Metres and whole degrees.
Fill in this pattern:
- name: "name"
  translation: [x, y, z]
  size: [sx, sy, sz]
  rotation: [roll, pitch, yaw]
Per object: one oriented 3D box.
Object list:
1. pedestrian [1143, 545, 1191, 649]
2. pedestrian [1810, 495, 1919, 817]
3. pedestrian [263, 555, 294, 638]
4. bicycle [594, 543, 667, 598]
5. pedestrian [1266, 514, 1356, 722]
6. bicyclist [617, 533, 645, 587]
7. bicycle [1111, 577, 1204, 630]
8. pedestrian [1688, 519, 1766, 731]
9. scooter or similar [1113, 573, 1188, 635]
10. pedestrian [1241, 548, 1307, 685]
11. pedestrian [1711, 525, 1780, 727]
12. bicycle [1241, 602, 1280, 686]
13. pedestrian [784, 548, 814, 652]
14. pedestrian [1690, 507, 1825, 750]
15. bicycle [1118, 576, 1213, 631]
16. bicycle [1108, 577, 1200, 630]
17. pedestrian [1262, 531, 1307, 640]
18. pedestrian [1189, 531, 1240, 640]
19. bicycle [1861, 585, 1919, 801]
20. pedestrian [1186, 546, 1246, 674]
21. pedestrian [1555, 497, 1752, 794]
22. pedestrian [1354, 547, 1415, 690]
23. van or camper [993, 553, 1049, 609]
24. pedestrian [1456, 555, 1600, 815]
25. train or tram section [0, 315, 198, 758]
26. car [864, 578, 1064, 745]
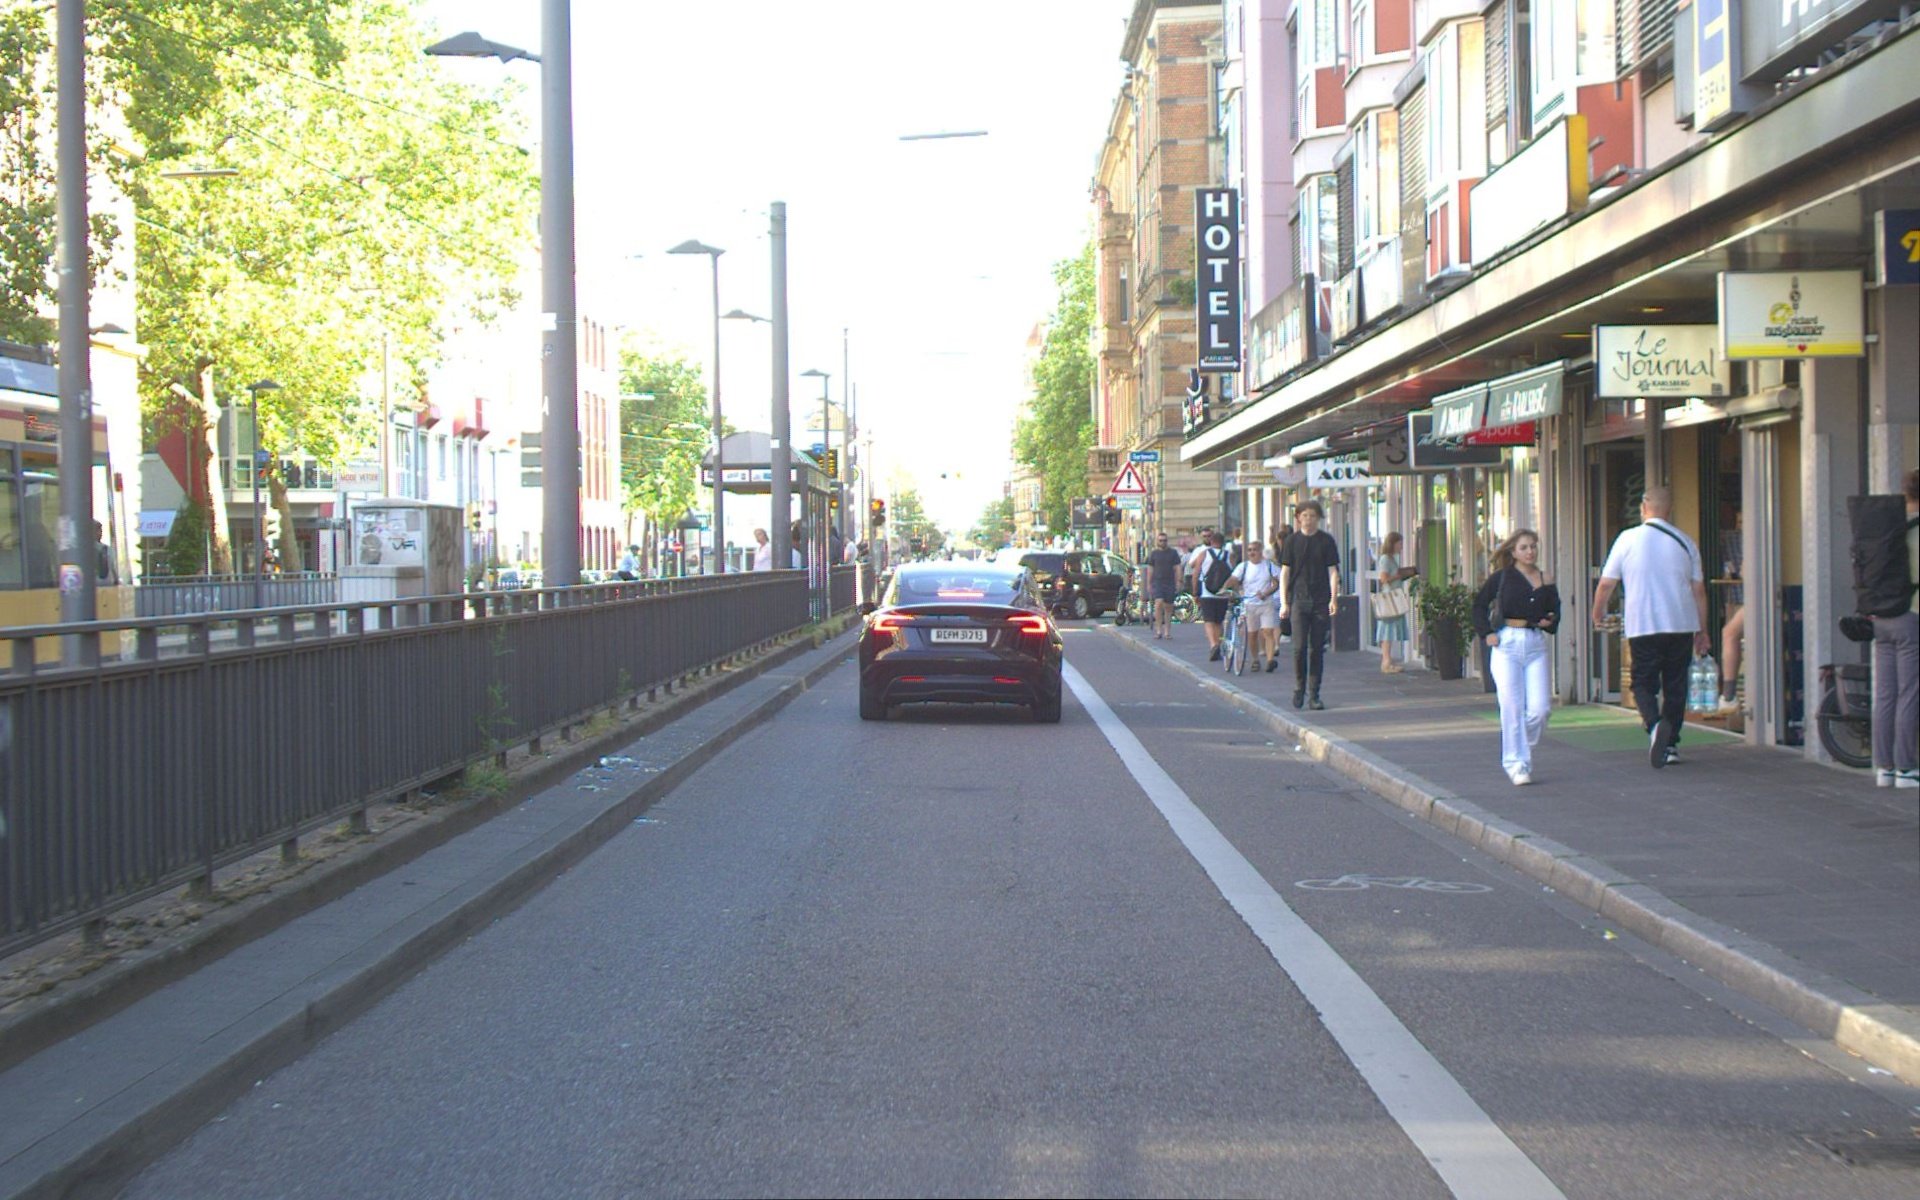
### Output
- name: "pedestrian"
  translation: [3.517, -0.058, 58.566]
  size: [0.667, 1.723, 0.810]
  rotation: [-3, 0, 0]
- name: "pedestrian"
  translation: [5.224, 0.289, 18.924]
  size: [0.786, 1.715, 0.592]
  rotation: [-3, 1, -18]
- name: "pedestrian"
  translation: [-16.538, -0.098, 83.445]
  size: [0.701, 2.007, 0.689]
  rotation: [0, 0, -8]
- name: "bicycle"
  translation: [-9.244, -0.825, 96.412]
  size: [1.948, 1.511, 0.635]
  rotation: [0, 1, -16]
- name: "pedestrian"
  translation: [3.220, 0.159, 31.613]
  size: [0.675, 1.855, 0.992]
  rotation: [-3, 0, 2]
- name: "bicyclist"
  translation: [-9.224, -1.119, 96.415]
  size: [0.679, 1.511, 0.635]
  rotation: [0, 1, -16]
- name: "bicycle"
  translation: [4.263, 0.068, 74.350]
  size: [1.945, 1.103, 0.564]
  rotation: [-1, 0, -1]
- name: "pedestrian"
  translation: [5.960, 0.189, 26.736]
  size: [0.516, 1.627, 0.521]
  rotation: [-1, 1, 5]
- name: "scooter or similar"
  translation: [3.968, 0.081, 71.668]
  size: [1.478, 1.225, 0.591]
  rotation: [-3, 0, 1]
- name: "pedestrian"
  translation: [3.846, 0.197, 42.193]
  size: [0.663, 1.625, 0.705]
  rotation: [-3, 0, 0]
- name: "pedestrian"
  translation: [6.282, 0.201, 27.515]
  size: [0.456, 1.598, 0.464]
  rotation: [-1, 1, 4]
- name: "bicycle"
  translation: [3.691, 0.532, 42.282]
  size: [0.302, 0.986, 1.760]
  rotation: [-1, 1, -1]
- name: "pedestrian"
  translation: [-2.455, -0.001, 52.446]
  size: [0.424, 1.568, 0.448]
  rotation: [0, 0, 1]
- name: "pedestrian"
  translation: [5.519, 0.193, 23.812]
  size: [0.726, 1.630, 0.639]
  rotation: [-3, 0, 2]
- name: "bicycle"
  translation: [4.316, 0.066, 72.320]
  size: [1.945, 1.103, 0.564]
  rotation: [-1, 0, -1]
- name: "bicycle"
  translation: [4.235, 0.067, 74.998]
  size: [1.945, 1.103, 0.564]
  rotation: [-1, 0, -1]
- name: "pedestrian"
  translation: [5.317, -0.234, 56.338]
  size: [0.629, 1.763, 0.501]
  rotation: [-2, 0, 1]
- name: "pedestrian"
  translation: [4.328, -0.252, 58.567]
  size: [0.706, 1.814, 0.763]
  rotation: [-3, 0, 1]
- name: "bicycle"
  translation: [5.888, 0.527, 20.300]
  size: [1.382, 1.232, 0.410]
  rotation: [-1, 0, -43]
- name: "pedestrian"
  translation: [3.470, 0.134, 46.708]
  size: [0.744, 1.721, 0.814]
  rotation: [1, 0, 1]
- name: "pedestrian"
  translation: [4.363, 0.274, 21.696]
  size: [0.906, 1.769, 1.050]
  rotation: [-4, 0, 0]
- name: "pedestrian"
  translation: [4.779, 0.205, 38.765]
  size: [0.600, 1.584, 0.554]
  rotation: [-1, 0, 0]
- name: "van or camper"
  translation: [2.255, -0.693, 128.075]
  size: [1.931, 2.030, 5.475]
  rotation: [1, 0, 0]
- name: "pedestrian"
  translation: [3.455, 0.504, 20.969]
  size: [0.665, 1.516, 0.789]
  rotation: [-3, 1, 0]
- name: "train or tram section"
  translation: [-9.379, -0.510, 26.932]
  size: [2.974, 3.632, 16.486]
  rotation: [1, 1, 1]
- name: "car"
  translation: [0.013, 0.526, 31.872]
  size: [1.719, 1.400, 3.710]
  rotation: [1, 1, -1]
